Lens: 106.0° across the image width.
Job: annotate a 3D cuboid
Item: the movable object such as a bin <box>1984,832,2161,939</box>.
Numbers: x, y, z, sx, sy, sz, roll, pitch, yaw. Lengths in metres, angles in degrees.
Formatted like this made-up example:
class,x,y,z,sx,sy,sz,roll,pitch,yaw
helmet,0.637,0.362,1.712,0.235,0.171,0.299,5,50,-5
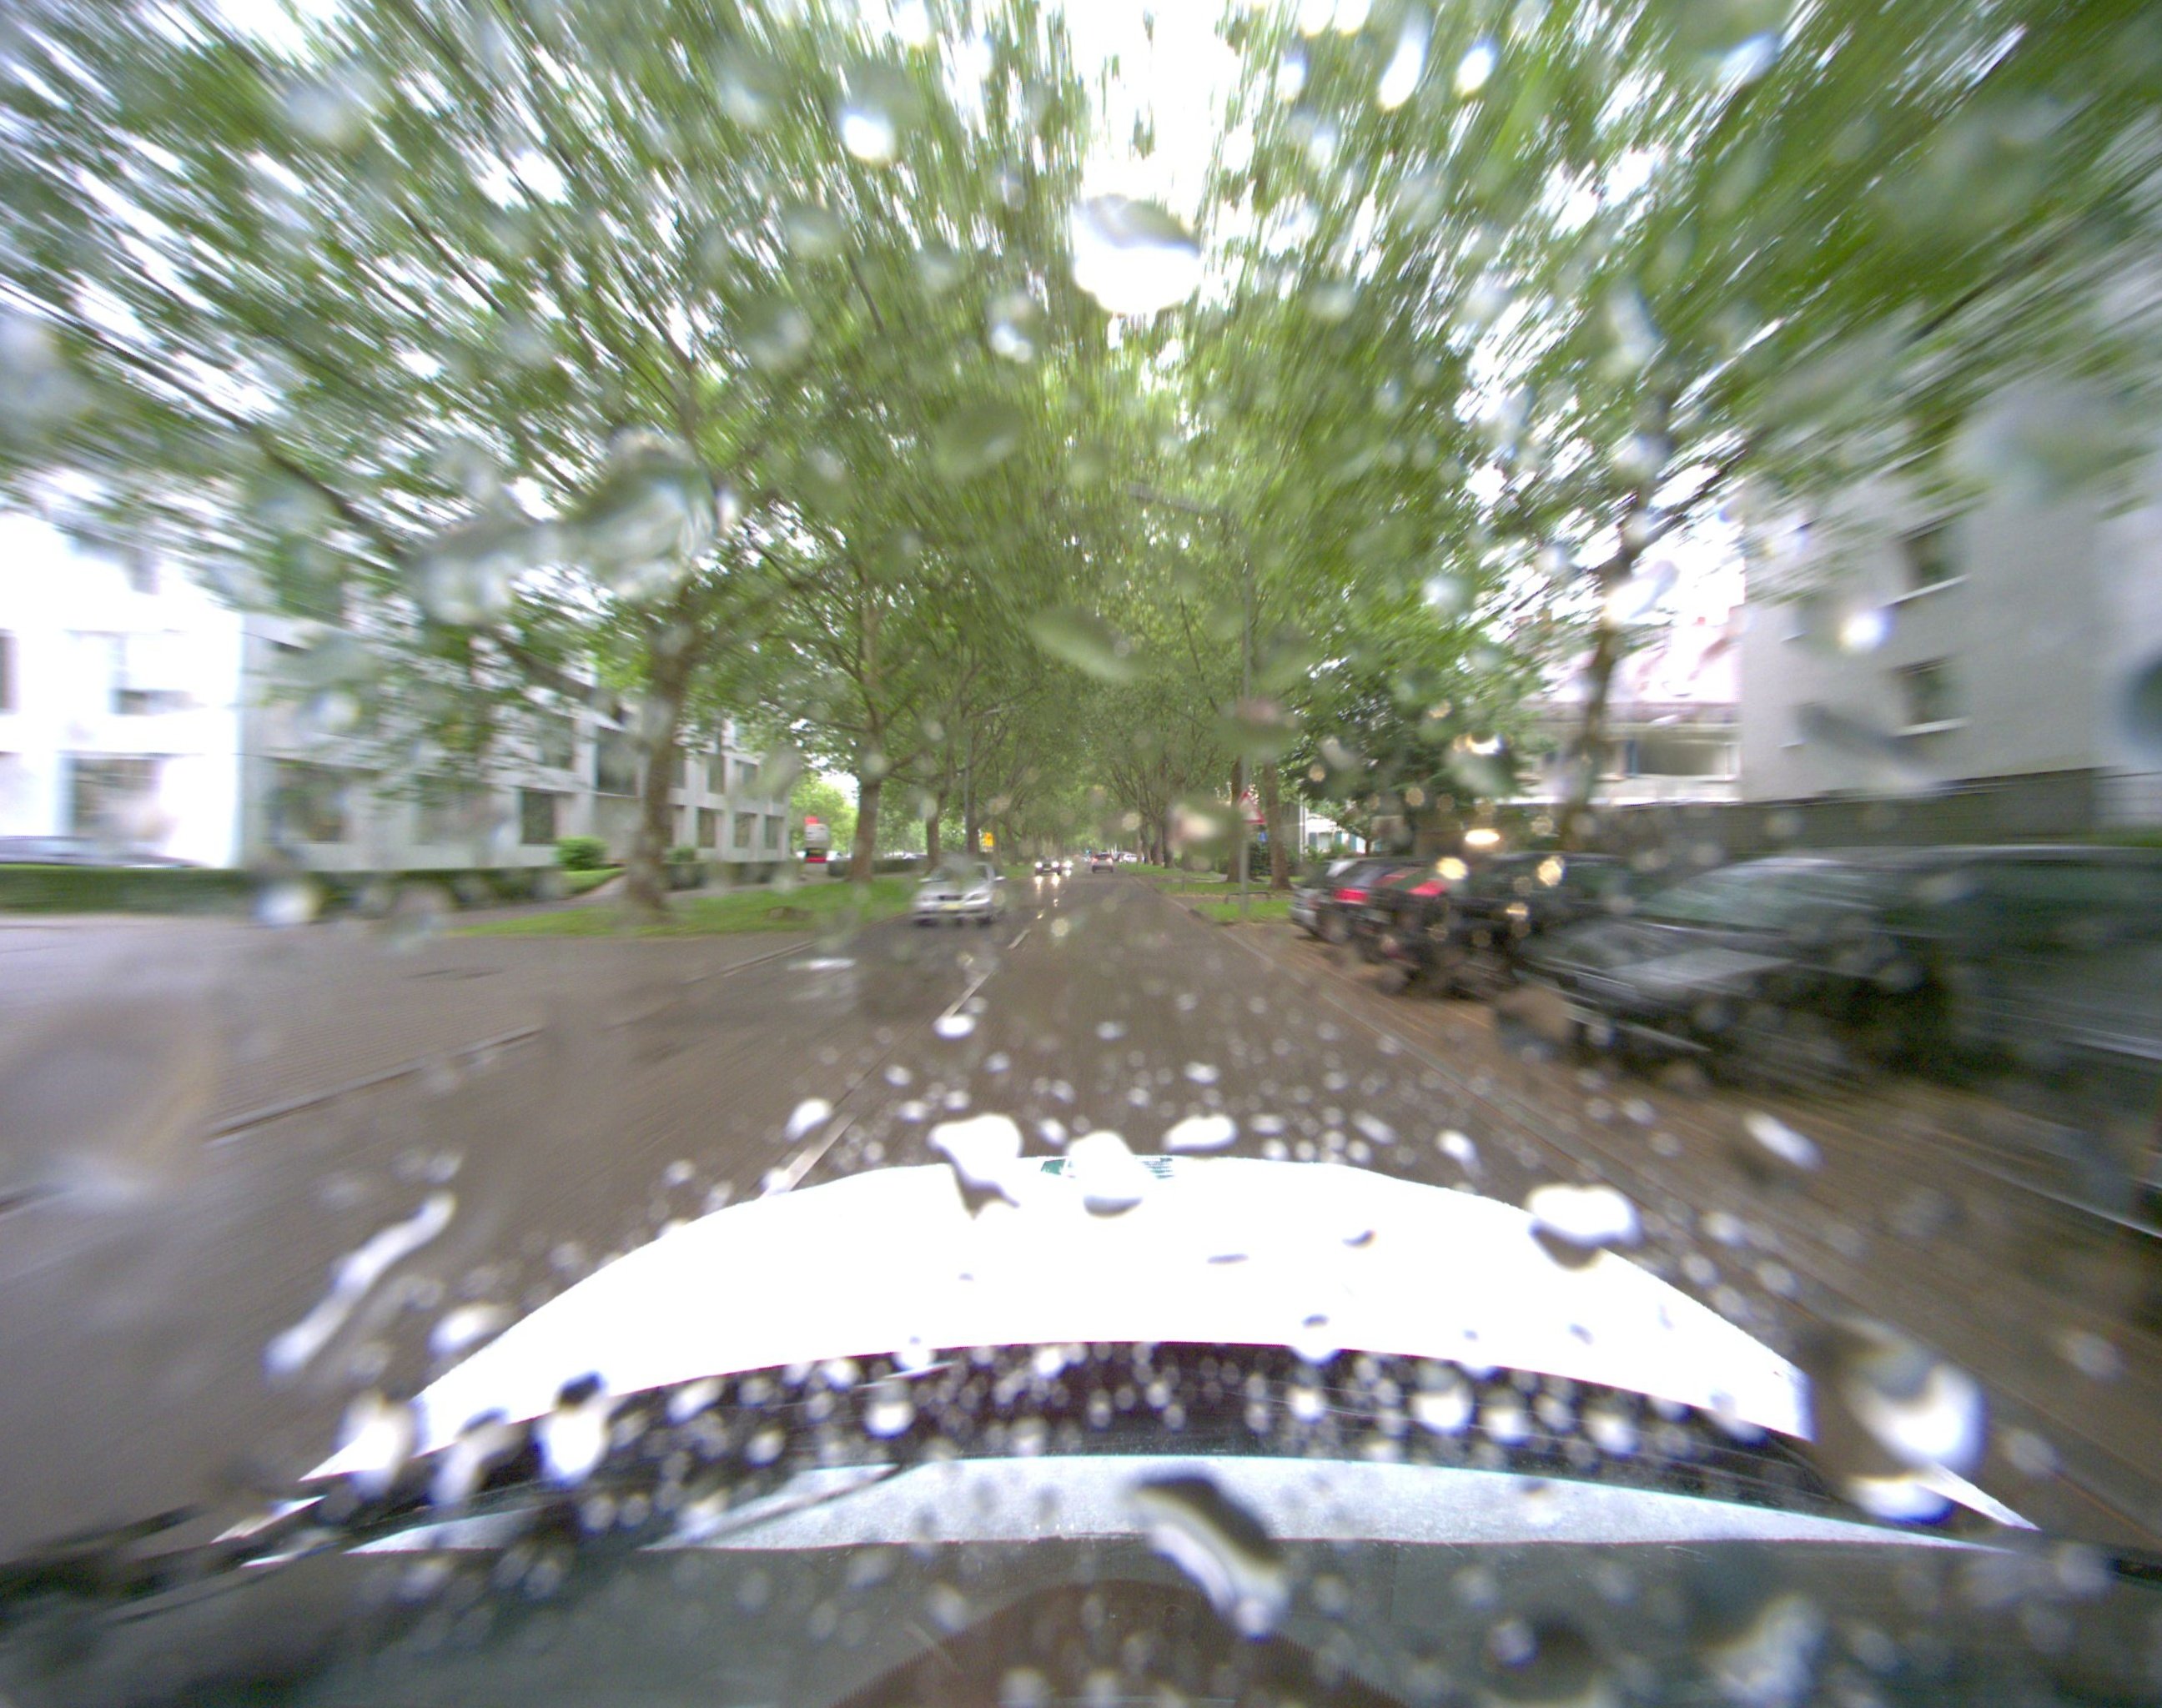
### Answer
class,x,y,z,sx,sy,sz,roll,pitch,yaw
movable object such as a bin,14.274,0.424,11.660,1.199,1.438,1.346,0,0,2

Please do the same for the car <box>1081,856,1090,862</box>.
class,x,y,z,sx,sy,sz,roll,pitch,yaw
car,1.030,1.185,182.138,1.713,1.255,4.002,1,0,2

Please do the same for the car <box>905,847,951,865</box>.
class,x,y,z,sx,sy,sz,roll,pitch,yaw
car,-14.534,0.189,77.539,3.972,1.623,2.001,0,0,1

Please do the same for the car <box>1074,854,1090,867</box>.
class,x,y,z,sx,sy,sz,roll,pitch,yaw
car,0.103,0.765,95.838,1.700,1.411,3.646,-2,0,1

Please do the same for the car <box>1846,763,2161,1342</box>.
class,x,y,z,sx,sy,sz,roll,pitch,yaw
car,5.194,0.579,2.352,4.196,1.655,1.914,0,0,0

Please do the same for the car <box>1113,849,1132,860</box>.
class,x,y,z,sx,sy,sz,roll,pitch,yaw
car,7.785,0.108,153.474,3.536,1.841,1.711,-2,0,-1

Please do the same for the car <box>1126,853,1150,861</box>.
class,x,y,z,sx,sy,sz,roll,pitch,yaw
car,8.819,0.439,125.623,3.537,1.155,1.710,-2,0,-2

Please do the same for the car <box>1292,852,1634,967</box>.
class,x,y,z,sx,sy,sz,roll,pitch,yaw
car,5.112,0.710,11.295,3.972,1.438,1.680,0,0,1

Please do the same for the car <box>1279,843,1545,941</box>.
class,x,y,z,sx,sy,sz,roll,pitch,yaw
car,5.637,0.622,14.222,3.972,1.578,1.680,0,0,1

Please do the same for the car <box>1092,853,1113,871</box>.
class,x,y,z,sx,sy,sz,roll,pitch,yaw
car,1.788,0.656,68.756,1.700,1.411,3.646,-2,0,1

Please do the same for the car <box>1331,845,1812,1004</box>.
class,x,y,z,sx,sy,sz,roll,pitch,yaw
car,5.011,0.682,8.800,4.085,1.513,1.865,0,0,1

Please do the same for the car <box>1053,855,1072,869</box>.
class,x,y,z,sx,sy,sz,roll,pitch,yaw
car,-1.822,0.775,82.583,1.700,1.250,3.646,-2,0,1

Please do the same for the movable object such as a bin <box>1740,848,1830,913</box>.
class,x,y,z,sx,sy,sz,roll,pitch,yaw
movable object such as a bin,14.713,0.525,17.056,0.899,1.310,1.174,0,0,2

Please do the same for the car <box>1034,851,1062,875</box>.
class,x,y,z,sx,sy,sz,roll,pitch,yaw
car,-2.467,0.664,62.116,1.803,1.684,4.448,-2,0,1

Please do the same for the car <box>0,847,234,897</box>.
class,x,y,z,sx,sy,sz,roll,pitch,yaw
car,-24.816,0.432,21.034,3.973,1.156,1.790,1,0,0

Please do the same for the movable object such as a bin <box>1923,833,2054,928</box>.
class,x,y,z,sx,sy,sz,roll,pitch,yaw
movable object such as a bin,14.372,0.404,12.937,0.861,1.438,1.114,0,0,2

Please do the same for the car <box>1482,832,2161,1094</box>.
class,x,y,z,sx,sy,sz,roll,pitch,yaw
car,5.250,0.641,5.714,4.030,1.530,1.779,0,0,-2

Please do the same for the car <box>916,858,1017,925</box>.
class,x,y,z,sx,sy,sz,roll,pitch,yaw
car,-2.662,0.824,19.973,1.672,1.388,4.551,-1,0,2
